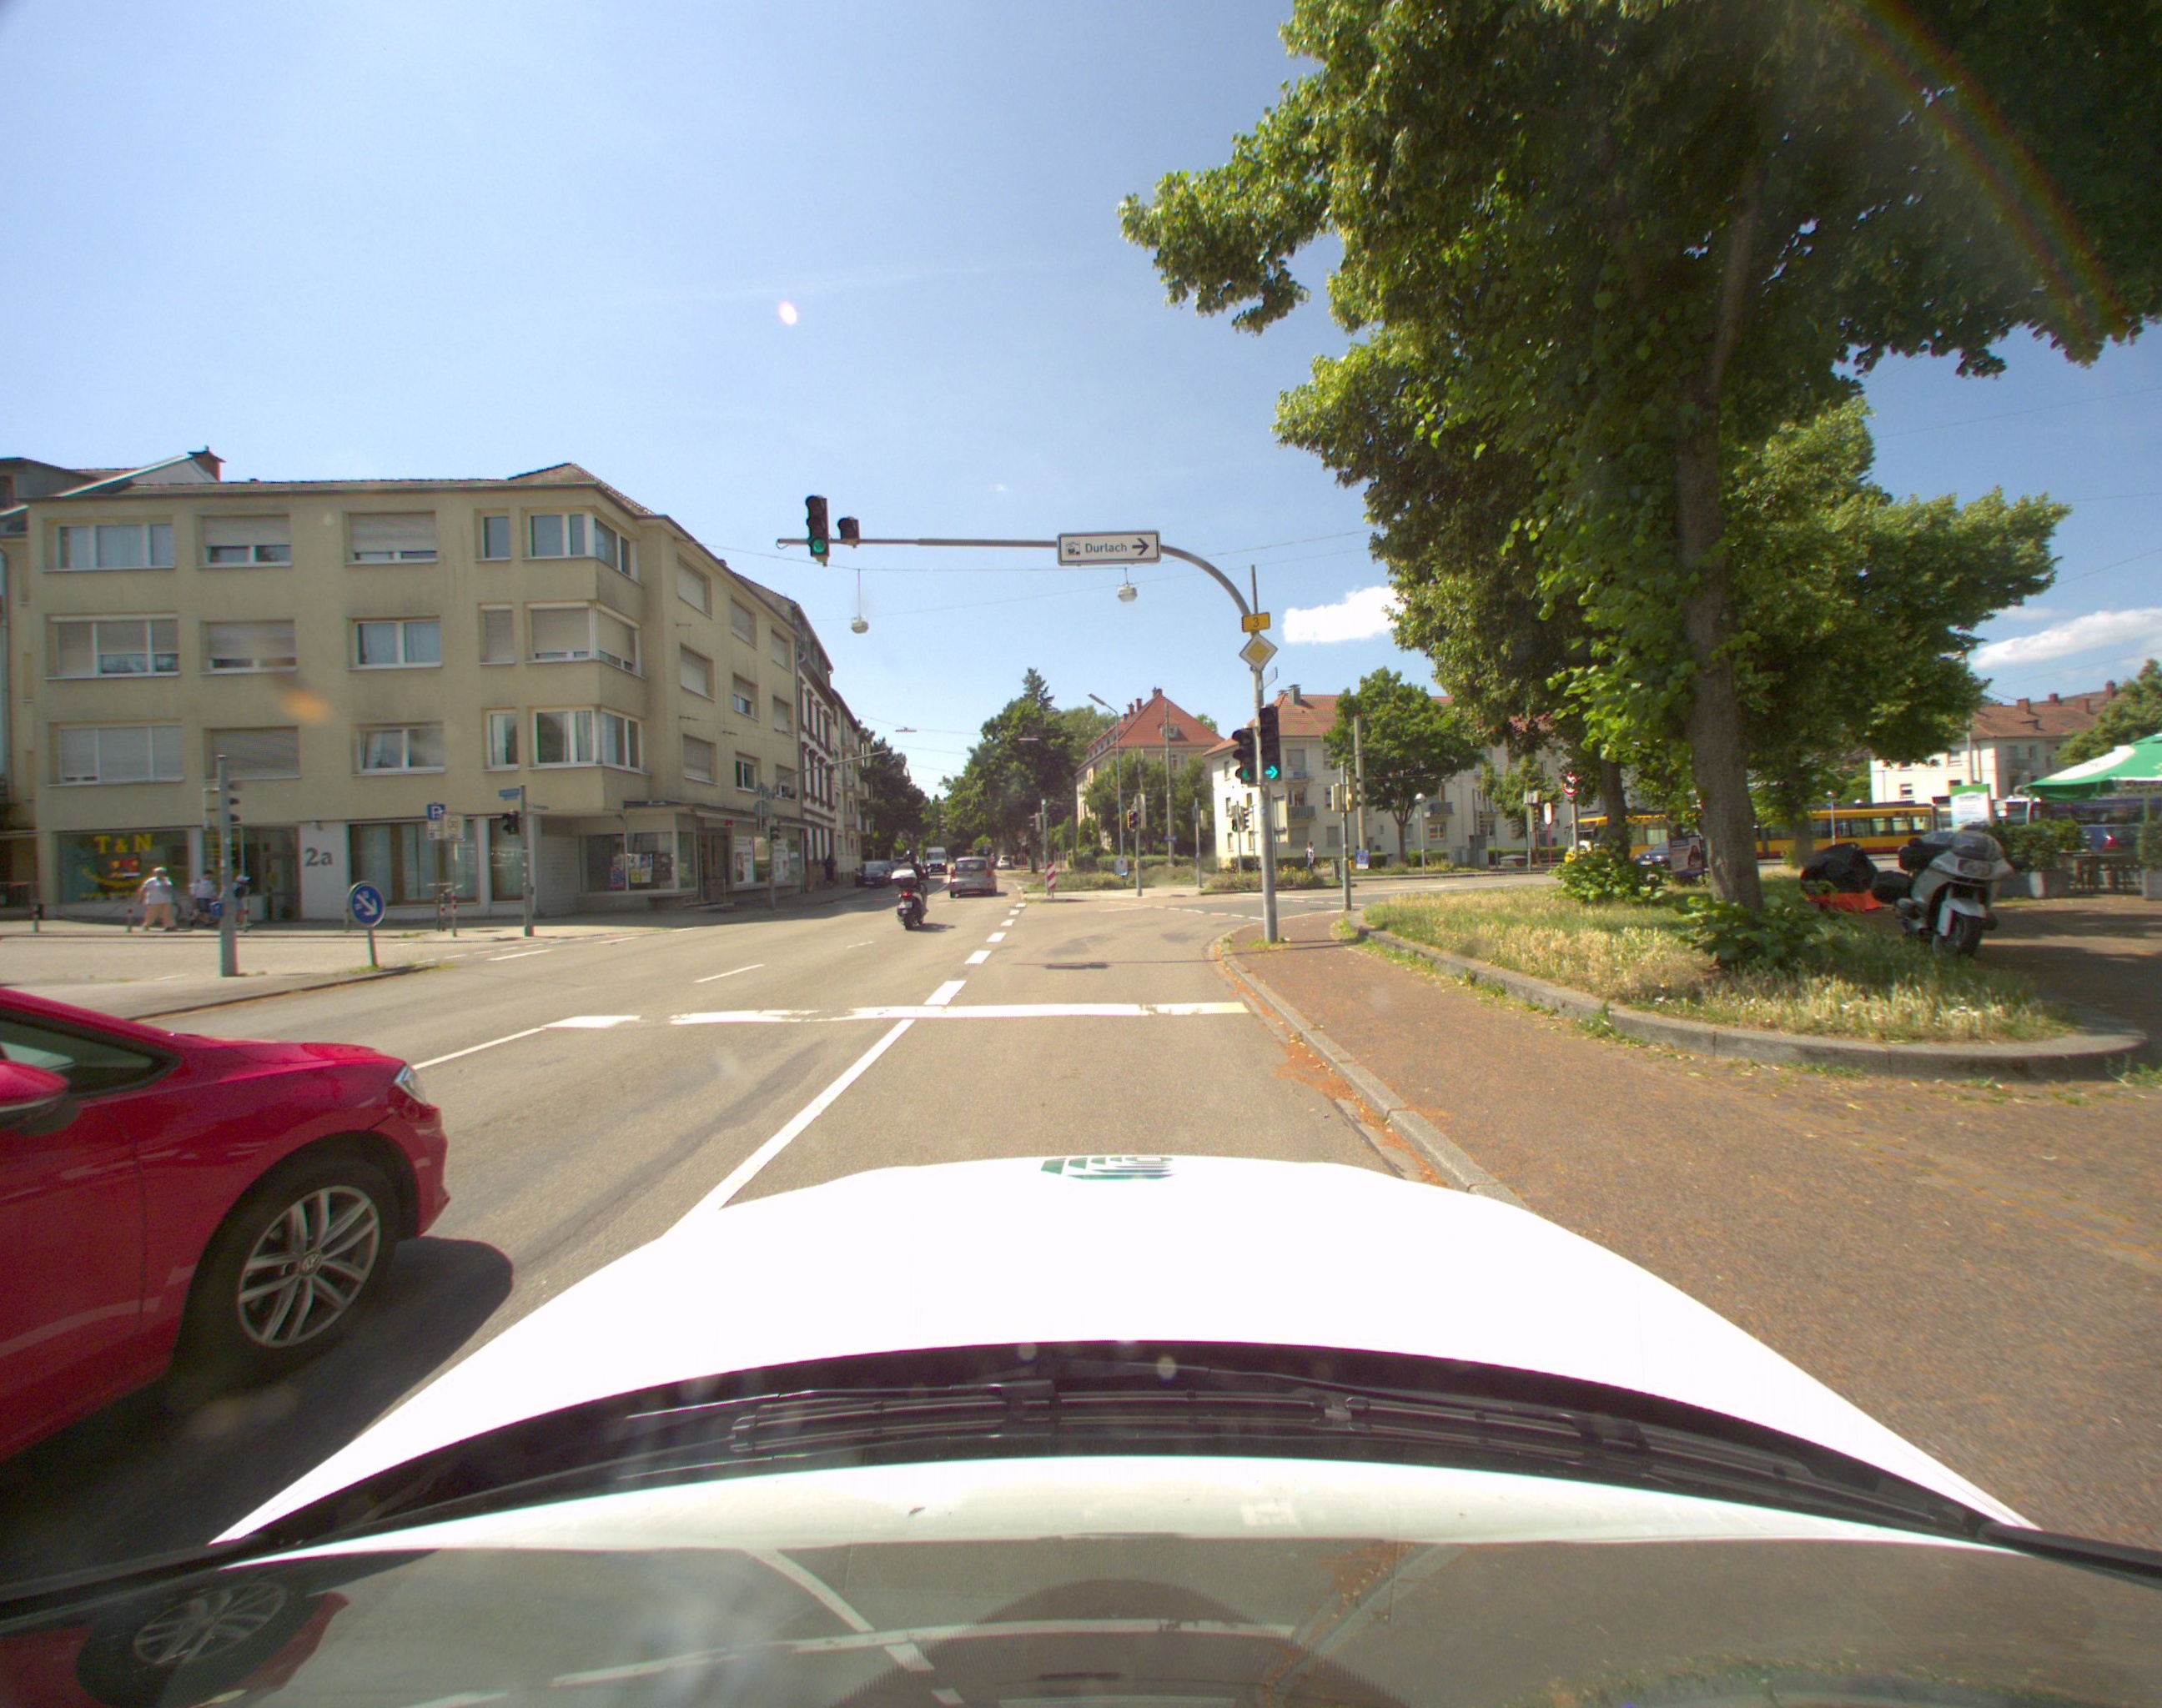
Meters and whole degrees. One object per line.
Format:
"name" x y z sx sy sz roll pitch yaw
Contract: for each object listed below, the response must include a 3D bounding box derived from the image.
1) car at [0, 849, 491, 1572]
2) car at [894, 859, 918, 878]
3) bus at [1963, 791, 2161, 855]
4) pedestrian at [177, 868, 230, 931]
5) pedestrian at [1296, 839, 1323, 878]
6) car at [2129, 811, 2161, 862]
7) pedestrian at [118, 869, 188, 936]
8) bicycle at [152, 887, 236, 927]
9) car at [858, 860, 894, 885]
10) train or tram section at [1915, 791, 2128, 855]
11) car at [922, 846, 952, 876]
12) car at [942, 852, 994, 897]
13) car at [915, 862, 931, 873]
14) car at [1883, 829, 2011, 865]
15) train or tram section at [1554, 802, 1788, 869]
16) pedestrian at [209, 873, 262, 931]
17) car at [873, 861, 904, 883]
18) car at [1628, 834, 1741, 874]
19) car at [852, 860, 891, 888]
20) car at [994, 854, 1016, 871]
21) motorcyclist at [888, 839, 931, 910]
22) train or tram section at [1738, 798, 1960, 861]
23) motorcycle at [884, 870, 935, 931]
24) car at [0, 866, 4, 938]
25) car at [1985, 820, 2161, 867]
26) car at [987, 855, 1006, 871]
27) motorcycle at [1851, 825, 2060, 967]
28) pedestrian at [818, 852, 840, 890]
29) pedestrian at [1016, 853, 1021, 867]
"car" -3.261 0.782 1.150 1.792 1.558 4.039 -1 0 2
"car" -16.490 1.350 77.040 1.797 1.718 4.027 1 -1 -7
"bus" 54.779 -1.723 44.982 11.985 3.129 2.726 -2 -1 -14
"pedestrian" -23.508 1.194 21.819 0.683 1.632 0.649 -2 -1 2
"pedestrian" 10.281 0.205 36.592 0.840 1.705 0.756 -1 -1 -26
"car" 39.134 -0.663 28.261 1.818 1.794 4.049 -2 -1 28
"pedestrian" -23.629 1.222 20.745 0.798 1.632 0.823 -2 0 2
"bicycle" -24.438 1.467 22.453 1.732 1.027 0.498 -1 0 -1
"car" -13.046 1.193 52.130 1.994 1.519 3.984 -1 -1 -11
"train or tram section" 65.015 -2.170 56.269 15.520 3.895 2.781 -2 -1 -14
"car" -13.513 0.679 76.770 2.215 2.501 7.533 -5 0 -8
"car" -4.280 0.761 31.222 1.797 1.558 4.027 -2 0 -7
"car" -22.758 1.980 117.433 1.796 1.558 4.030 1 -1 -5
"car" 40.835 -0.319 38.441 4.498 1.519 1.993 -2 0 -11
"train or tram section" 35.514 -1.138 48.970 14.152 3.568 2.805 -2 -1 -14
"pedestrian" -22.394 1.267 21.580 0.683 1.475 0.649 -2 0 2
"car" -14.326 1.355 60.783 1.995 1.510 3.984 -2 -1 -11
"car" 25.401 -0.012 34.259 4.434 1.500 1.983 -2 0 -26
"car" -12.152 1.175 47.468 1.995 1.519 3.983 -1 -1 -12
"car" -8.199 0.920 87.807 1.994 1.807 3.985 -1 0 -11
"motorcyclist" -3.596 0.421 17.163 0.709 1.445 1.018 -2 0 -3
"train or tram section" 49.485 -1.588 52.412 14.675 3.568 2.781 -2 -1 -14
"motorcycle" -3.582 0.935 17.184 0.709 1.134 2.194 -2 0 -3
"car" -25.253 1.115 17.732 4.273 1.664 2.013 -2 0 39
"car" 33.619 -0.300 27.513 1.884 1.439 4.183 -2 -1 9
"car" -10.538 1.076 101.034 1.994 1.906 3.985 -1 0 -11
"motorcycle" 9.192 0.386 8.705 0.906 1.313 2.239 -1 0 31
"pedestrian" -13.308 0.894 43.075 0.935 1.931 0.973 -2 -1 -11
"pedestrian" -7.436 0.727 97.023 0.508 1.656 0.465 -1 0 -6
